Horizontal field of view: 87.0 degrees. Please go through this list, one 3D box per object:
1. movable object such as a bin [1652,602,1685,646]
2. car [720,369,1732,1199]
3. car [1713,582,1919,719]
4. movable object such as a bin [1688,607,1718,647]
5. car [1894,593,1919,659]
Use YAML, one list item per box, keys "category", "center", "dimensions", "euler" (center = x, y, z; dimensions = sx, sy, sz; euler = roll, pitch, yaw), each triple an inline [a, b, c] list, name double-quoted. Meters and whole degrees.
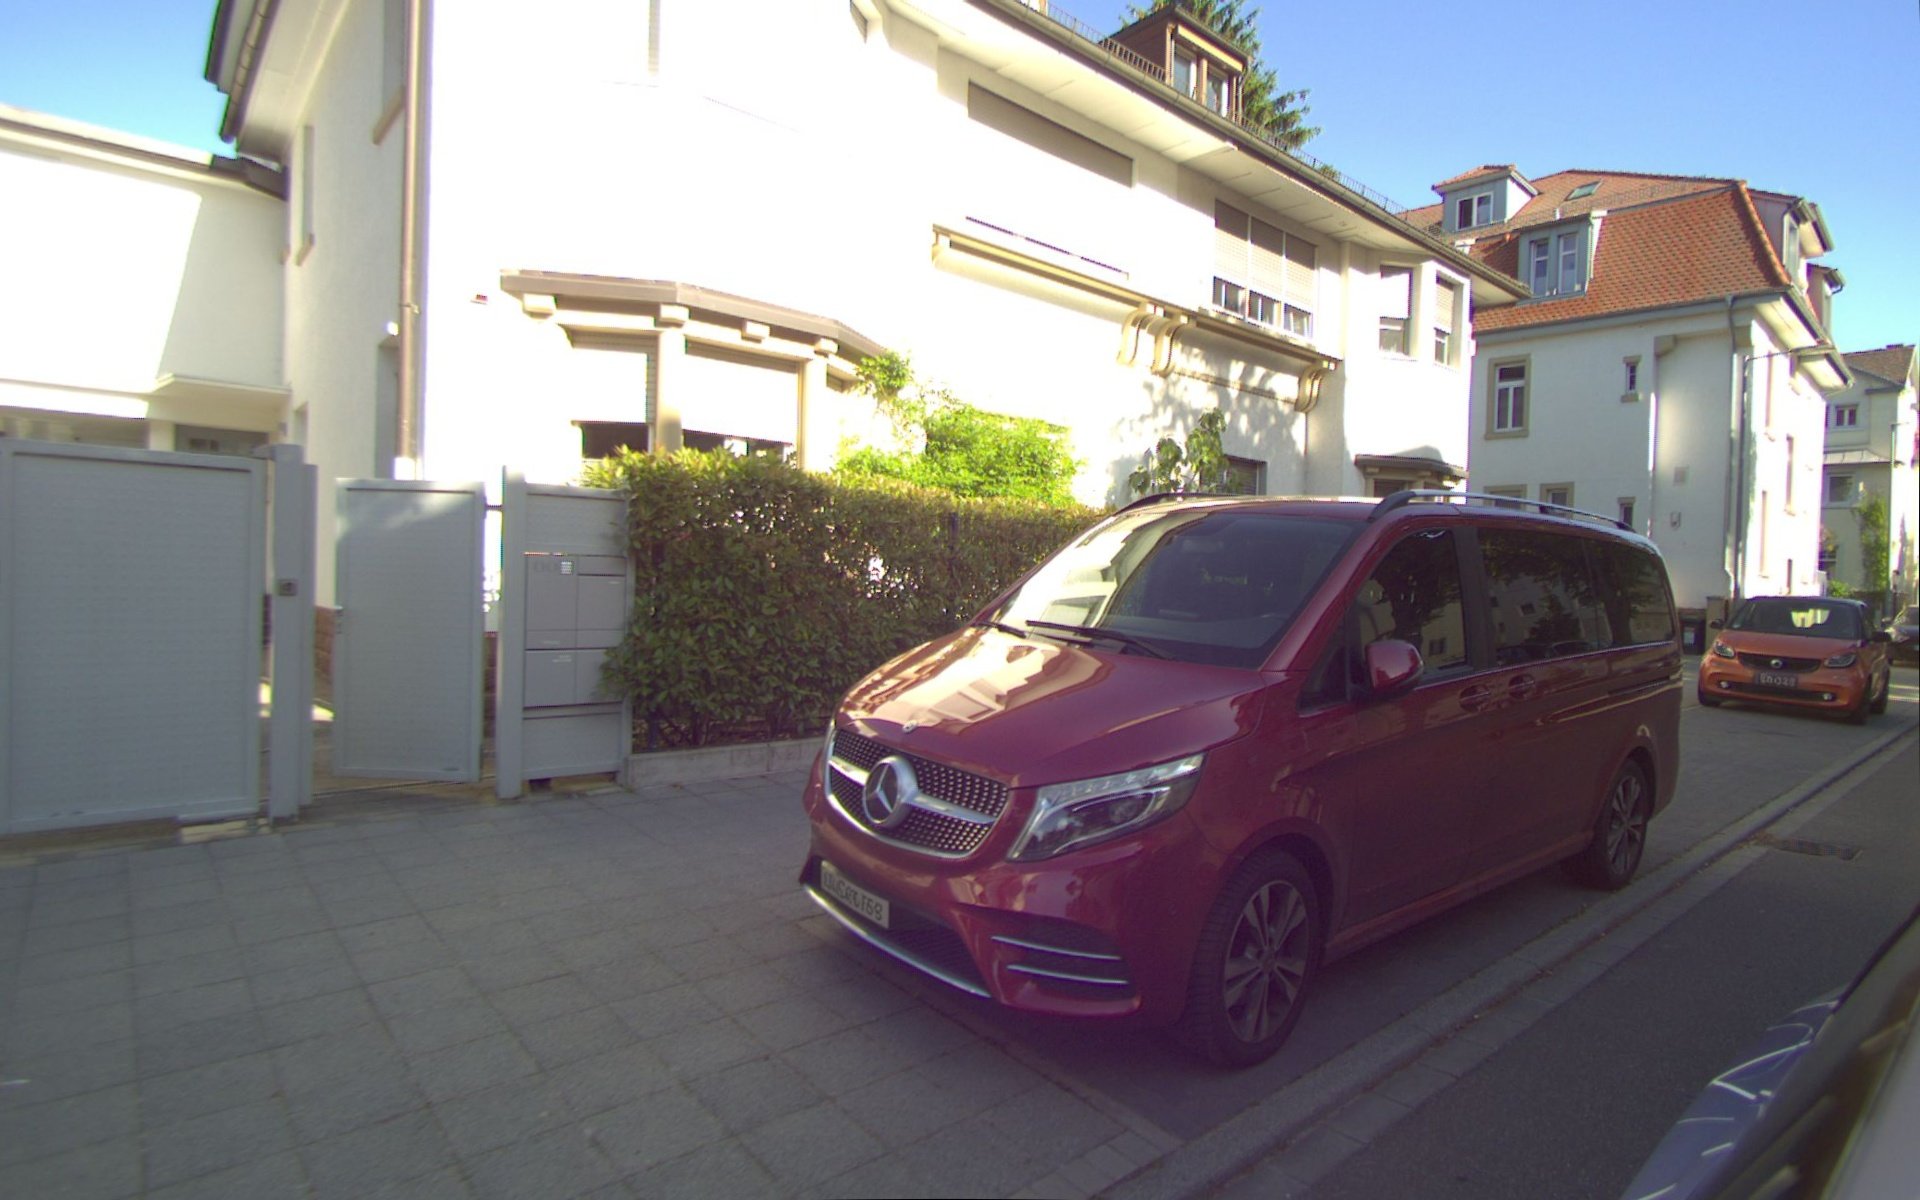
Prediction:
- category: "movable object such as a bin"
  center: [17.700, 0.594, 25.269]
  dimensions: [0.685, 1.076, 0.556]
  euler: [-1, 0, -44]
- category: "car"
  center: [1.670, 0.364, 4.680]
  dimensions: [5.105, 1.928, 1.876]
  euler: [-1, 3, -40]
- category: "car"
  center: [11.367, 0.572, 13.355]
  dimensions: [3.190, 1.498, 1.596]
  euler: [0, 4, -41]
- category: "movable object such as a bin"
  center: [18.205, 0.651, 24.806]
  dimensions: [0.642, 0.948, 0.486]
  euler: [-1, 0, -44]
- category: "car"
  center: [23.242, 0.627, 23.699]
  dimensions: [3.868, 1.457, 1.623]
  euler: [0, 4, -43]
